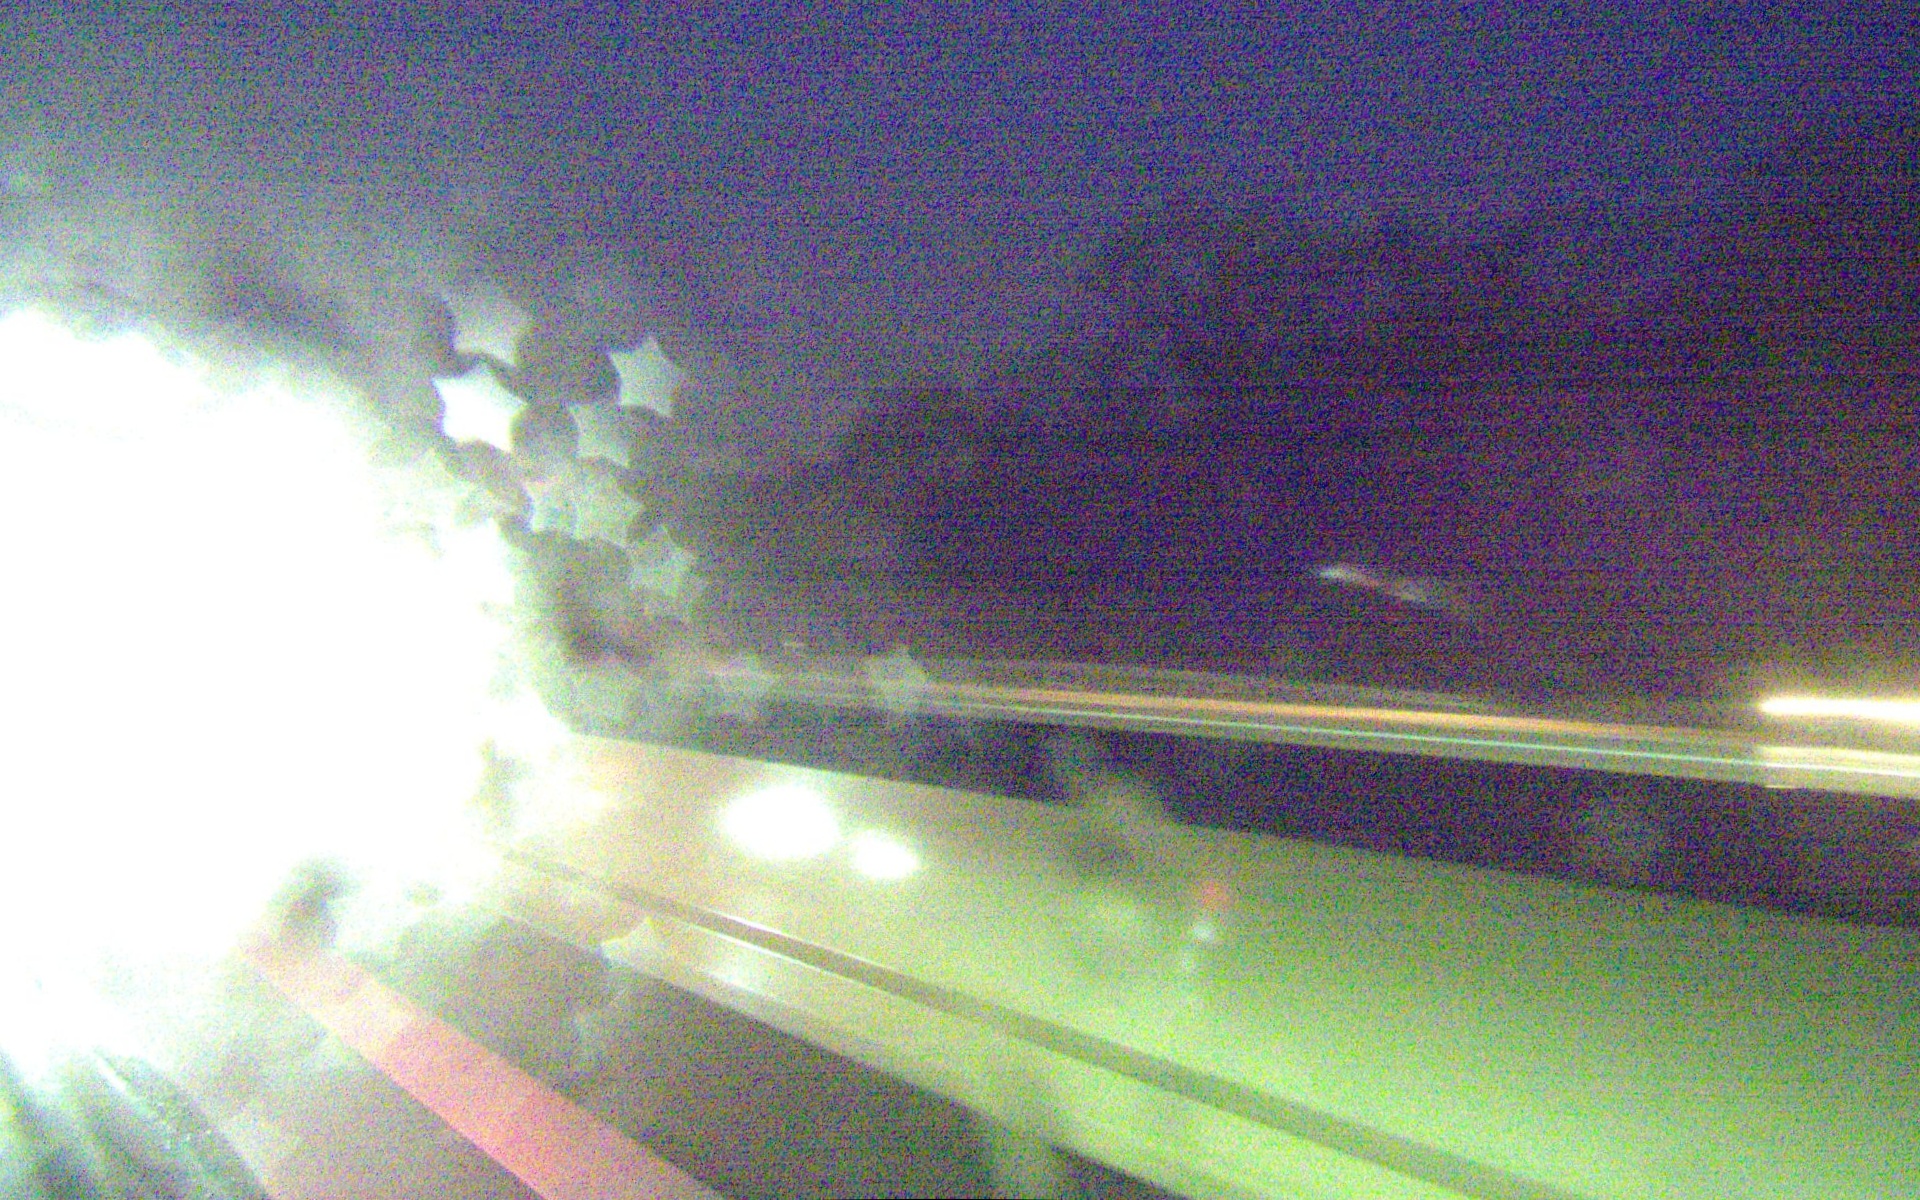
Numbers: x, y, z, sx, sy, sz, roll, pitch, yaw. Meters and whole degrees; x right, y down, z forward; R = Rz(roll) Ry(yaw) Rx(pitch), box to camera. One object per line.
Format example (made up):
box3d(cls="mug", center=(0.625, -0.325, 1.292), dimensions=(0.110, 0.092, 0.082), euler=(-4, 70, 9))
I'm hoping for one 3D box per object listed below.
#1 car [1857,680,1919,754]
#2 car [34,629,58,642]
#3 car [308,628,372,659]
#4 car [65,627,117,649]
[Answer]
box3d(cls="car", center=(16.719, 1.921, 16.154), dimensions=(3.540, 1.134, 1.394), euler=(-2, -3, 41))
box3d(cls="car", center=(-120.096, 4.601, 132.896), dimensions=(5.371, 1.595, 1.872), euler=(-1, 0, 43))
box3d(cls="car", center=(-40.186, 2.819, 65.541), dimensions=(5.384, 1.963, 1.973), euler=(-2, -3, 41))
box3d(cls="car", center=(-58.235, 2.569, 67.774), dimensions=(4.587, 1.426, 1.973), euler=(-2, -3, 41))
